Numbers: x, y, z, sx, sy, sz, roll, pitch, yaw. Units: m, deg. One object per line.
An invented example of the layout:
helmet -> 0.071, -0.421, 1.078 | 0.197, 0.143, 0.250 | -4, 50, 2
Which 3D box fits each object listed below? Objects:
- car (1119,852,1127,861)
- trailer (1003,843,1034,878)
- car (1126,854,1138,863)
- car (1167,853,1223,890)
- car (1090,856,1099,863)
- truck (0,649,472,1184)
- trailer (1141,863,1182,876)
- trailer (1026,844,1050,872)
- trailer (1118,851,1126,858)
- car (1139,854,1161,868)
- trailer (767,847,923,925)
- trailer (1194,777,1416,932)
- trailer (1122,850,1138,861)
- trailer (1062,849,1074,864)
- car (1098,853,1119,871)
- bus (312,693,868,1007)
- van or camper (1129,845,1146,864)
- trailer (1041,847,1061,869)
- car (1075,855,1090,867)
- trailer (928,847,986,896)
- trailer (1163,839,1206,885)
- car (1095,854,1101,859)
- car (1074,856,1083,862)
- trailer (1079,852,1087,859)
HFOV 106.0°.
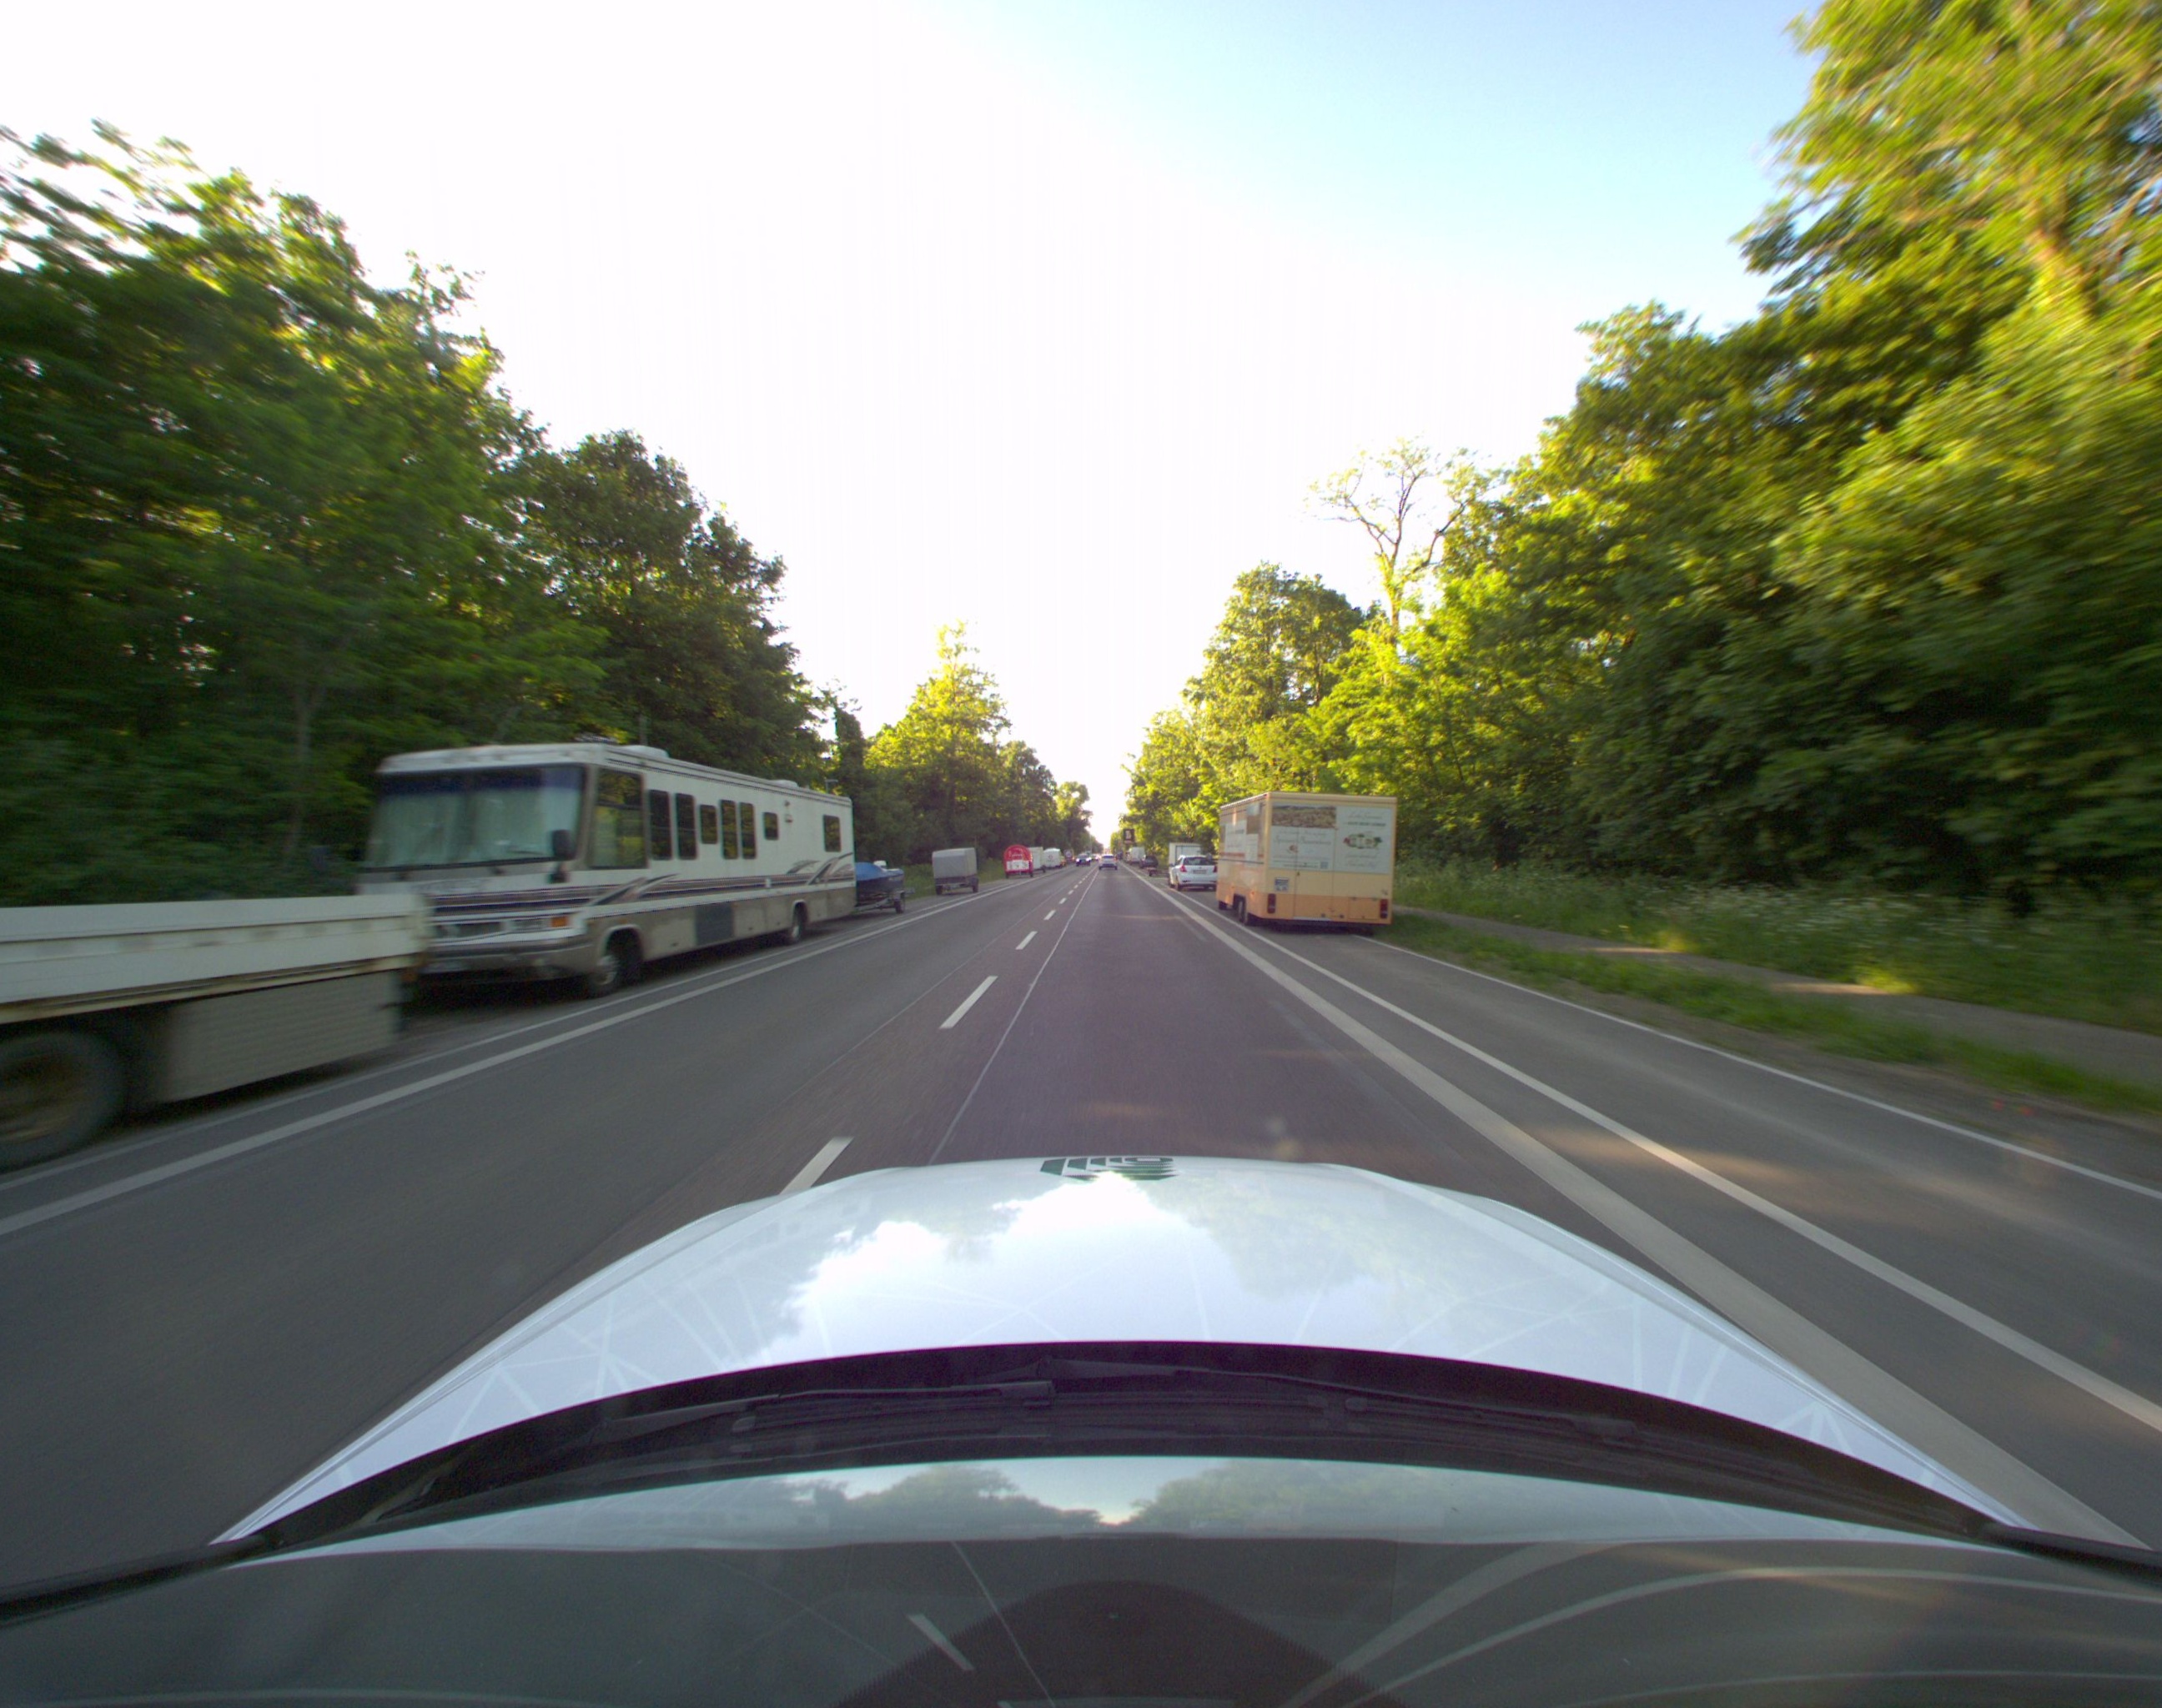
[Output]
car -> 10.688, 0.639, 207.787 | 2.105, 2.013, 5.042 | 1, 0, 2
trailer -> -4.690, 0.488, 61.851 | 2.060, 2.480, 3.559 | -2, 0, -1
car -> 8.195, 0.734, 130.381 | 1.729, 1.488, 4.401 | 1, 0, 1
car -> 4.837, 0.721, 35.116 | 1.880, 1.468, 4.571 | -1, 0, 2
car -> 2.782, 1.163, 170.265 | 1.812, 1.532, 4.532 | -2, -1, 2
truck -> -6.979, 0.344, 3.281 | 2.473, 2.824, 8.428 | -1, 0, 2
trailer -> 5.372, 1.041, 55.305 | 2.423, 0.798, 5.662 | 0, 0, 2
trailer -> -3.939, 0.388, 75.797 | 2.060, 2.480, 3.559 | -2, 0, -1
trailer -> 12.637, 0.170, 252.172 | 1.600, 2.112, 2.409 | -1, 0, 22
car -> 7.259, 0.725, 85.972 | 1.829, 1.421, 4.595 | 1, 0, -1
trailer -> -6.469, 0.785, 23.314 | 2.419, 1.914, 6.266 | -1, 0, 2
trailer -> 4.902, 0.044, 20.266 | 2.911, 2.841, 9.884 | 1, 0, 1
trailer -> 9.482, 0.360, 158.179 | 1.945, 2.023, 3.864 | -1, 0, 22
trailer -> -2.321, 0.374, 147.401 | 1.986, 2.621, 4.088 | -2, 0, 2
car -> 2.703, 0.781, 80.295 | 1.986, 1.640, 4.002 | -2, 0, 2
bus -> -6.862, -0.003, 14.554 | 2.817, 3.431, 11.204 | 0, 0, 2
van or camper -> 7.638, 0.048, 109.838 | 2.117, 2.482, 6.309 | -1, 0, 3
trailer -> -3.597, 0.499, 99.054 | 2.339, 2.529, 4.342 | -2, 0, -1
car -> 0.185, 0.918, 111.340 | 1.811, 1.587, 4.461 | -2, -1, 2
trailer -> -5.635, 0.753, 37.507 | 1.846, 2.013, 3.563 | -4, 0, 2
trailer -> 5.177, 0.381, 41.100 | 1.748, 2.161, 3.540 | -1, 0, 1
car -> 5.315, 0.785, 250.830 | 1.598, 1.421, 3.520 | -3, 0, 2
car -> -0.477, 1.131, 186.091 | 1.848, 1.464, 4.786 | -1, 0, 2
trailer -> 0.562, 0.425, 253.504 | 2.066, 2.293, 3.490 | -2, 0, 4
